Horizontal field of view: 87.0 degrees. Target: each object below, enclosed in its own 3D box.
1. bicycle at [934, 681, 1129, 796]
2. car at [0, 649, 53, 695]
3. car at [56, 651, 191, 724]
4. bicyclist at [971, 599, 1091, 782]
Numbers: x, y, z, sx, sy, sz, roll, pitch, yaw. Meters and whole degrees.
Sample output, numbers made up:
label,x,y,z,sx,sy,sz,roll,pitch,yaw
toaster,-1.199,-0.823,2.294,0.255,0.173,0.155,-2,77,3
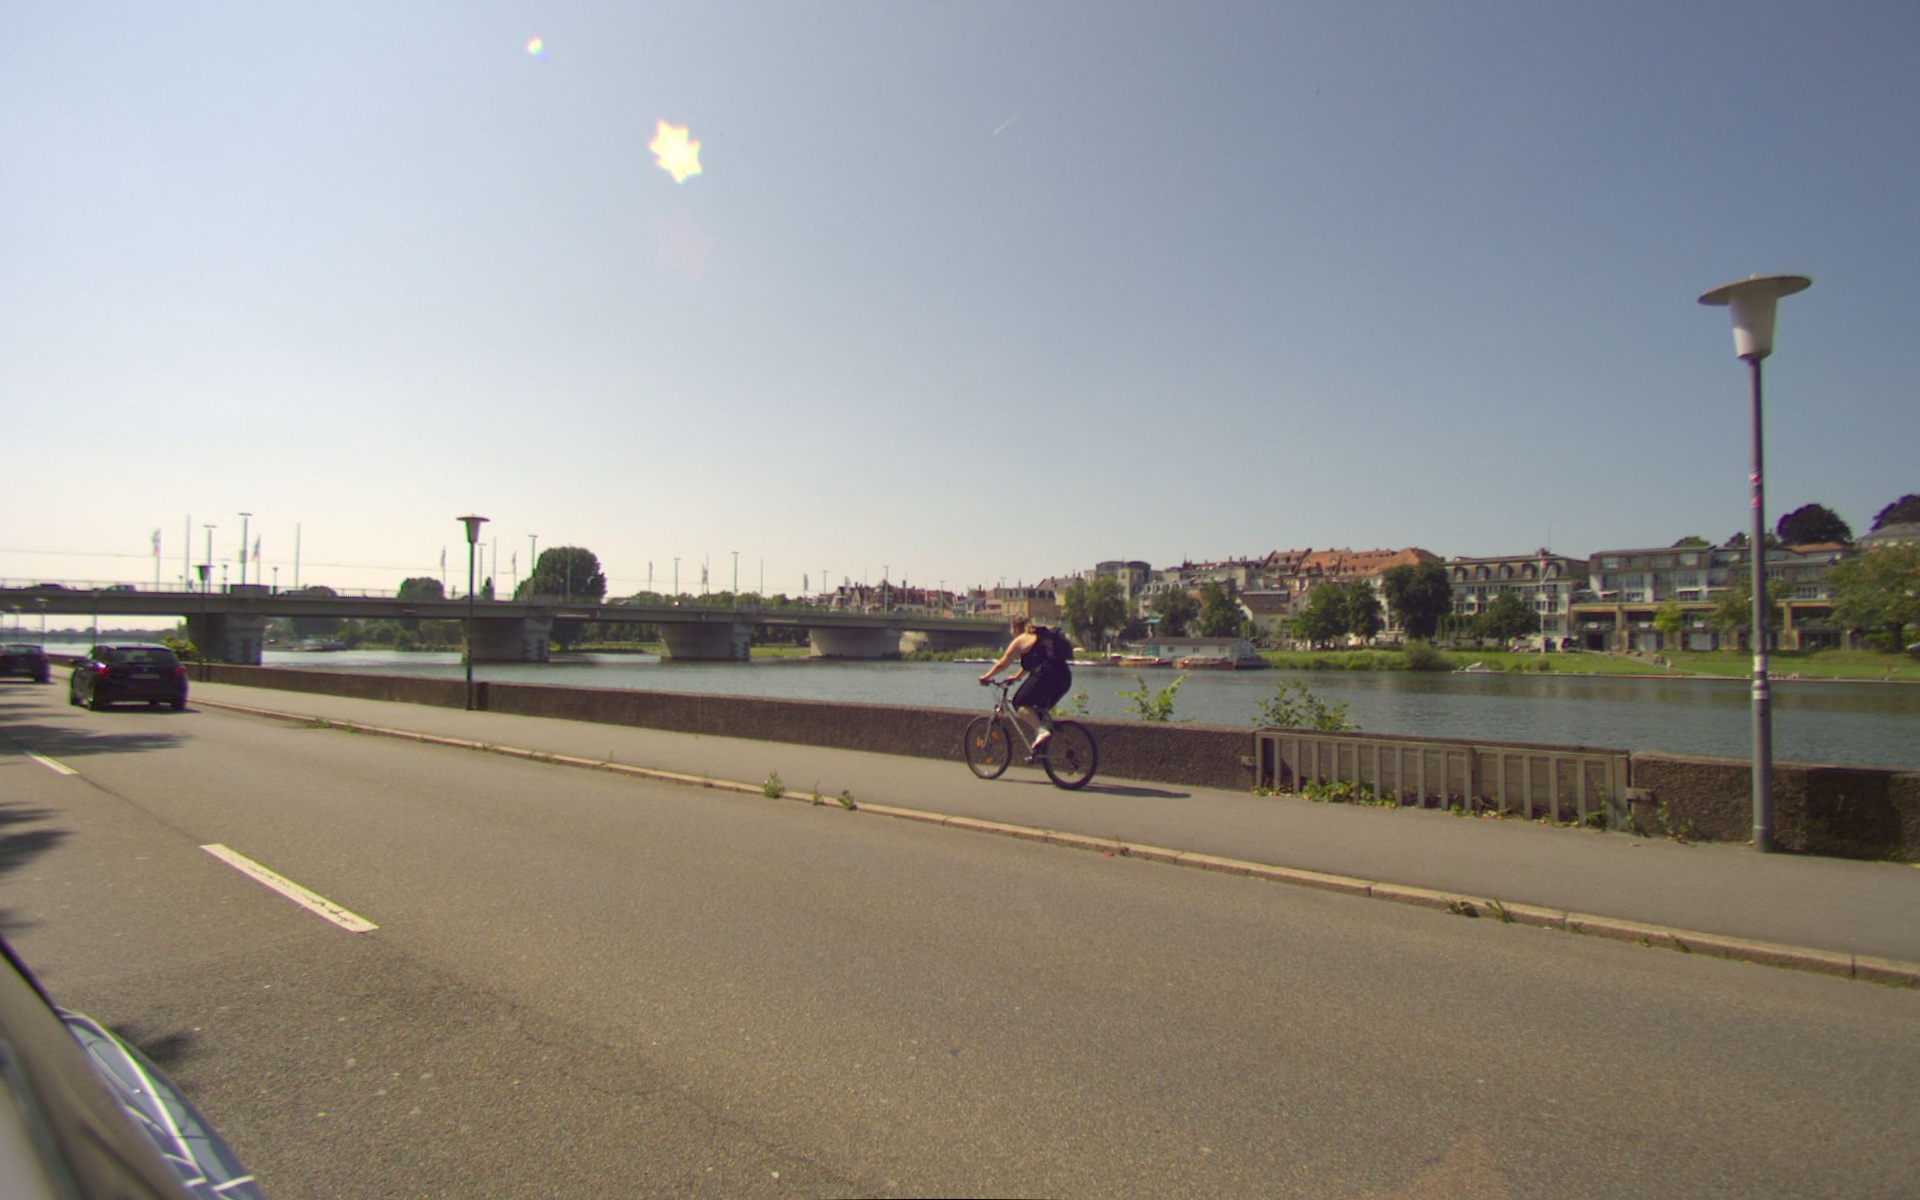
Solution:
label,x,y,z,sx,sy,sz,roll,pitch,yaw
bicycle,0.677,1.335,10.149,1.943,0.990,0.645,-3,-3,41
car,-34.078,2.560,36.350,3.998,1.586,1.711,-3,-5,41
car,-18.912,1.941,22.845,3.723,1.502,1.649,-3,-6,40
bicyclist,0.702,0.872,10.092,0.974,1.715,0.654,-3,-3,41
